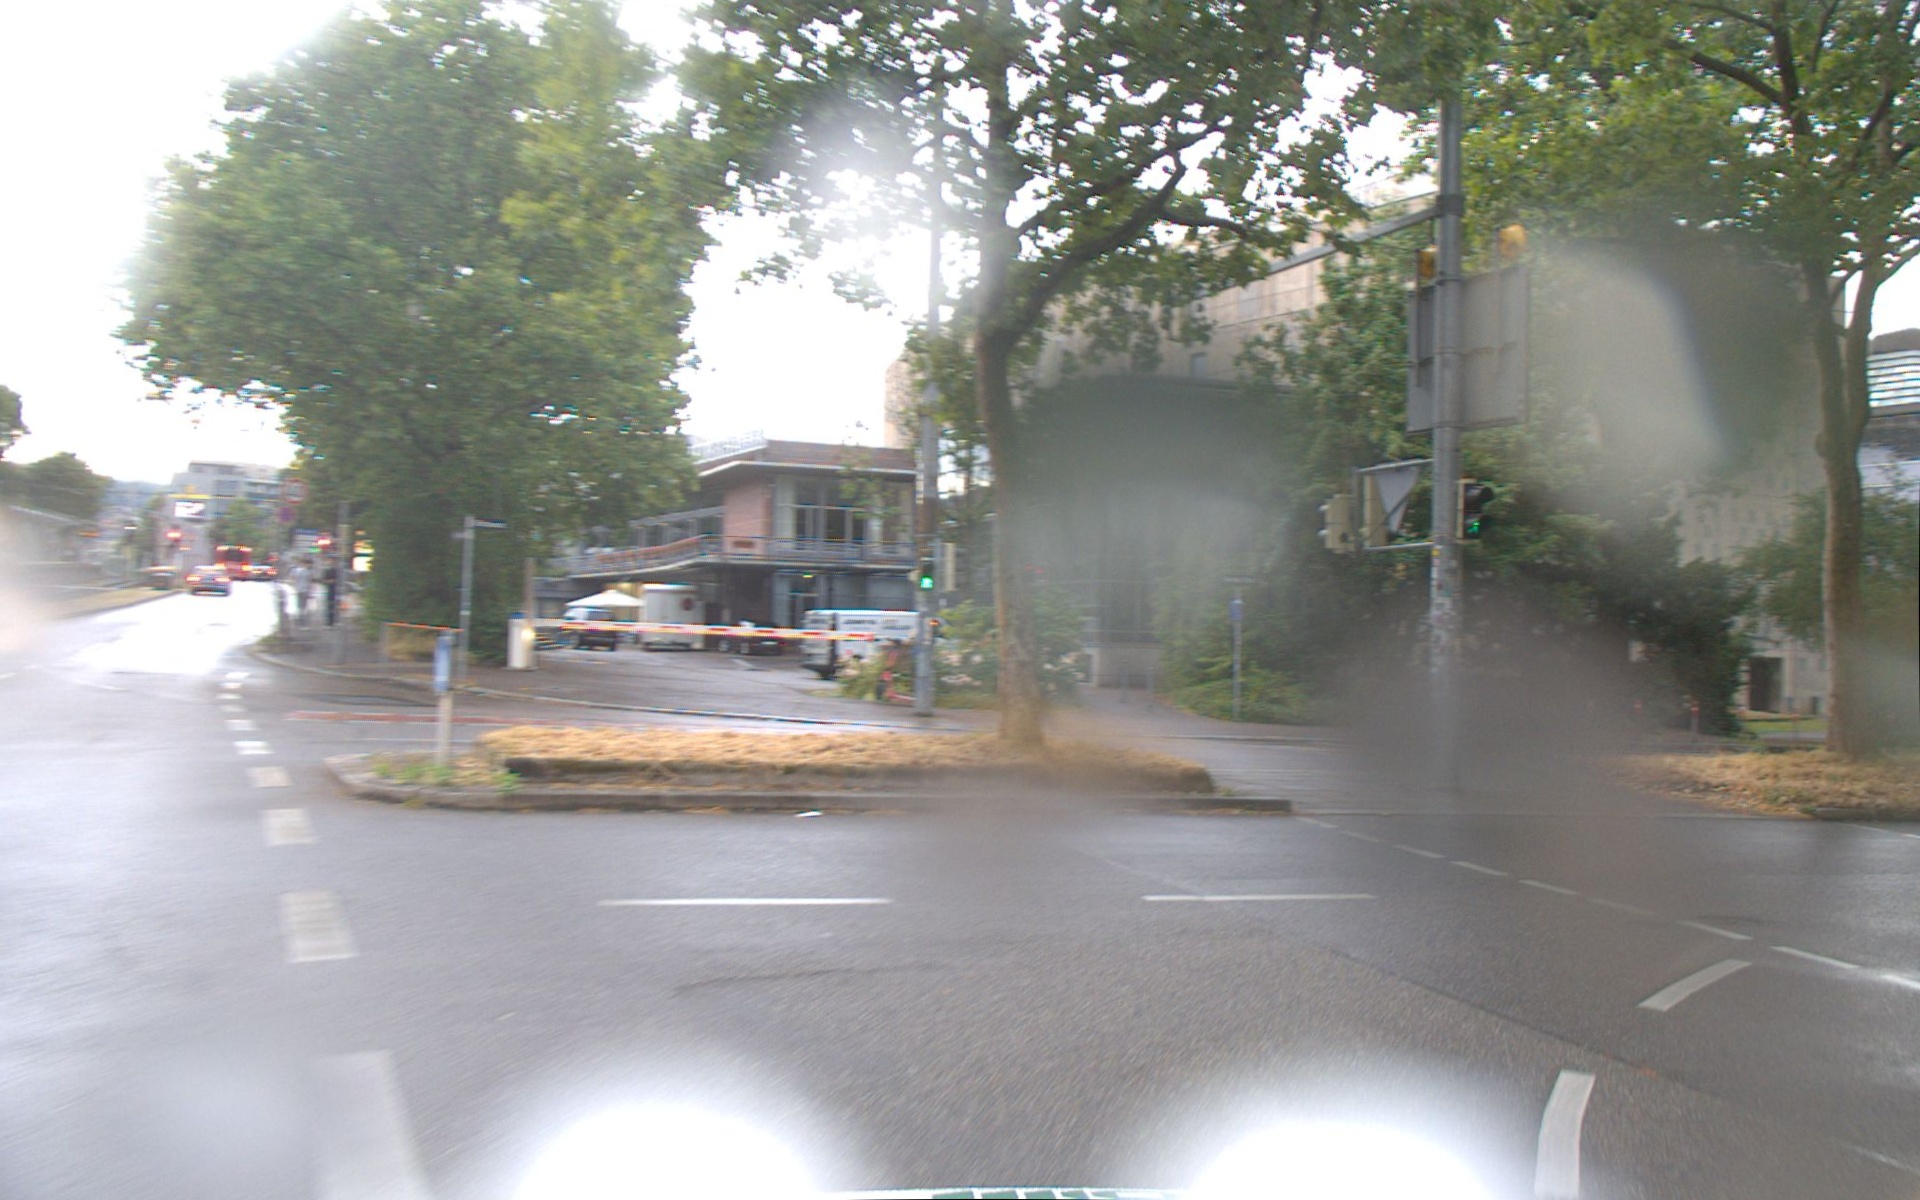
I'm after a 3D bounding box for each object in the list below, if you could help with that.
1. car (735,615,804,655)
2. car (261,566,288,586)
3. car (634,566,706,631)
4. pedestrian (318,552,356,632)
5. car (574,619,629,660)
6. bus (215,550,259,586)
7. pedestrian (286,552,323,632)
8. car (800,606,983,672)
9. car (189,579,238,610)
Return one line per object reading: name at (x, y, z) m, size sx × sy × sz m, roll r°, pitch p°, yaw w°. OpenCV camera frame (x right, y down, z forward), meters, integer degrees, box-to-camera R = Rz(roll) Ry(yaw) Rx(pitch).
car at (-8.608, 1.544, 74.438) m, size 1.992 × 1.578 × 4.320 m, roll 2°, pitch 0°, yaw -22°
car at (-65.180, -2.255, 157.282) m, size 2.331 × 1.848 × 5.147 m, roll 0°, pitch 0°, yaw -23°
car at (-13.343, -0.087, 75.786) m, size 2.686 × 2.742 × 6.896 m, roll 2°, pitch 0°, yaw -14°
pedestrian at (-16.203, -0.205, 43.020) m, size 0.860 × 2.049 × 1.072 m, roll 0°, pitch 0°, yaw -18°
car at (-15.535, 1.690, 71.825) m, size 1.982 × 1.578 × 4.342 m, roll 2°, pitch 0°, yaw -8°
bus at (-66.372, -2.898, 151.999) m, size 3.541 × 3.226 × 10.347 m, roll 0°, pitch 0°, yaw -23°
pedestrian at (-16.930, -0.208, 42.721) m, size 0.802 × 2.049 × 1.072 m, roll 0°, pitch 0°, yaw -18°
car at (-1.965, 1.143, 48.270) m, size 5.157 × 1.761 × 1.851 m, roll 2°, pitch 0°, yaw -36°
car at (-37.173, -0.285, 82.415) m, size 1.965 × 1.545 × 4.323 m, roll 0°, pitch 0°, yaw -21°
